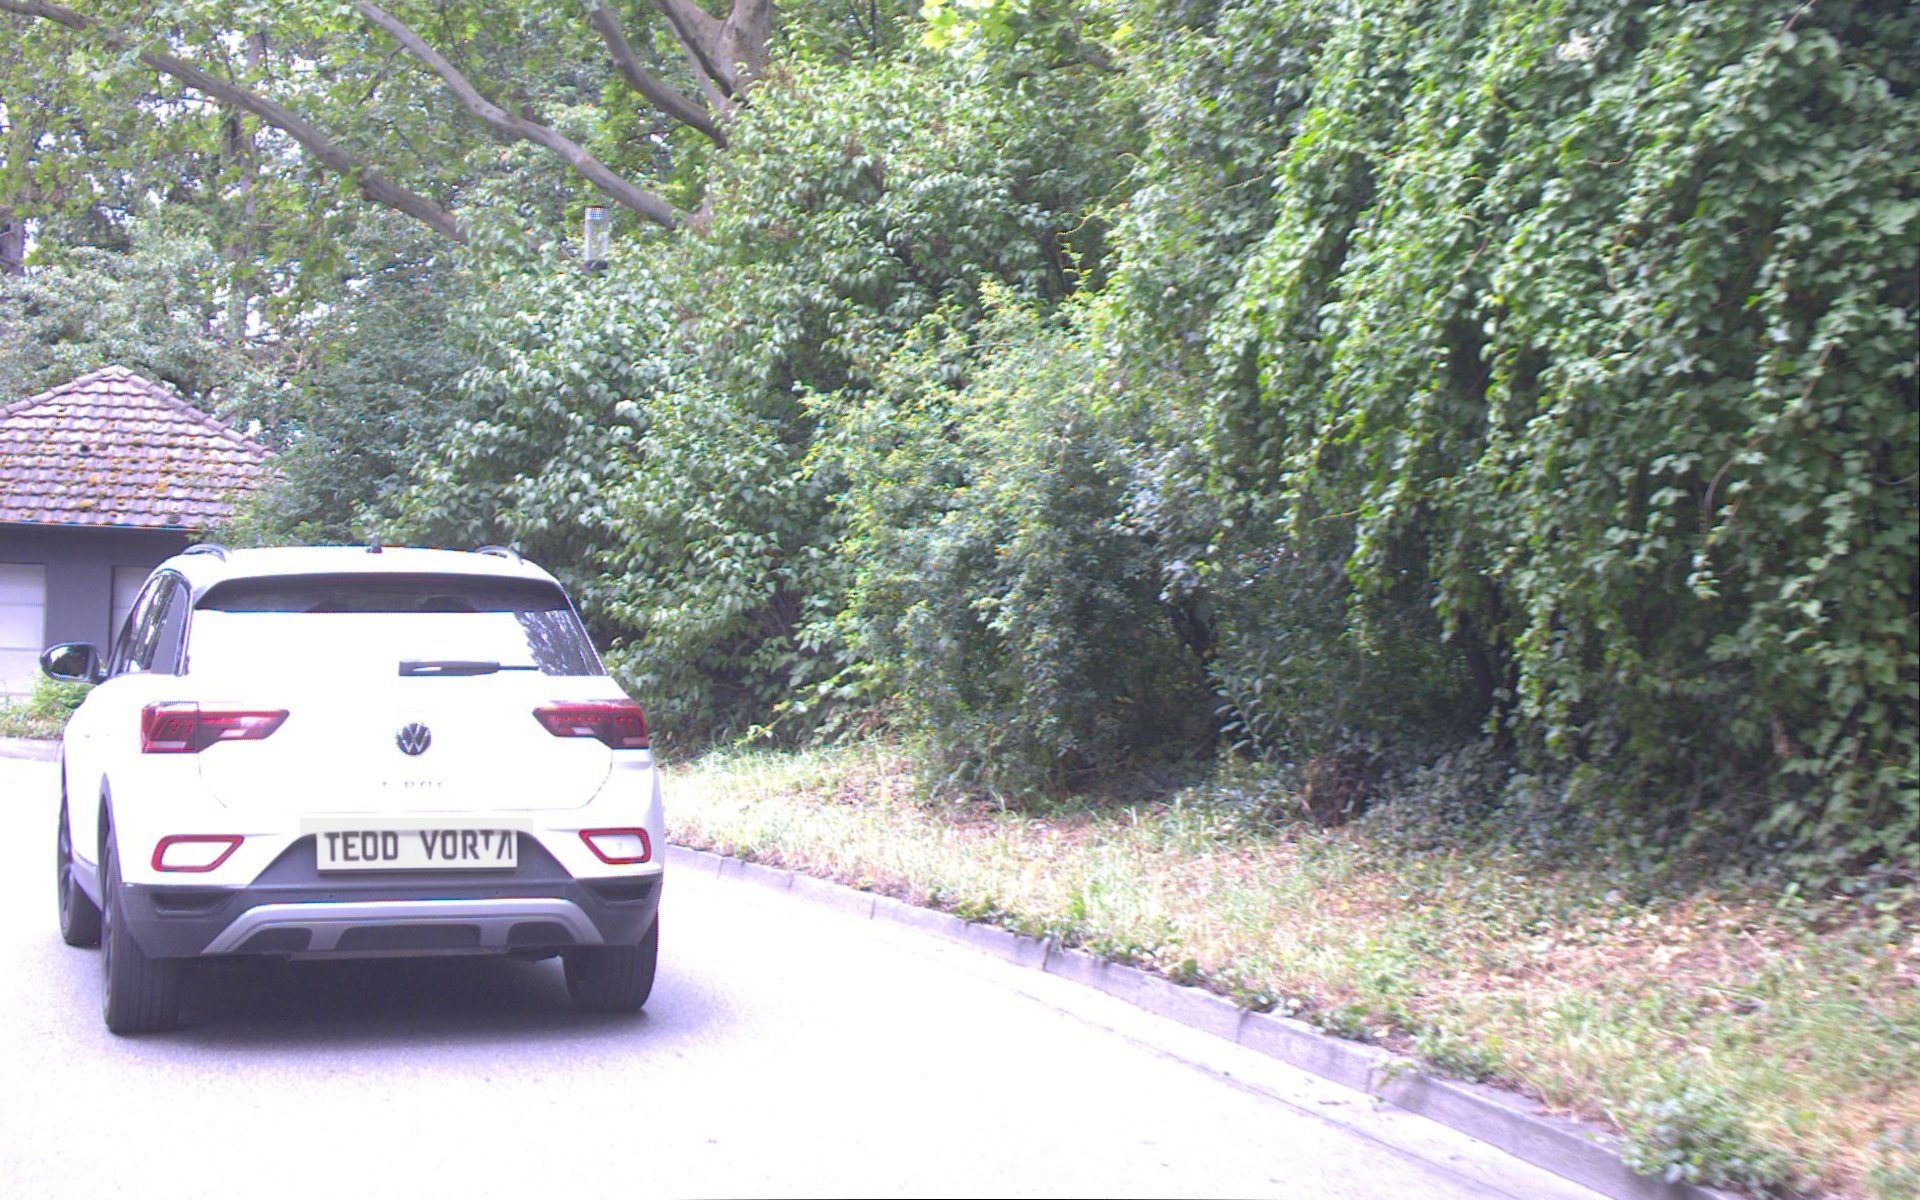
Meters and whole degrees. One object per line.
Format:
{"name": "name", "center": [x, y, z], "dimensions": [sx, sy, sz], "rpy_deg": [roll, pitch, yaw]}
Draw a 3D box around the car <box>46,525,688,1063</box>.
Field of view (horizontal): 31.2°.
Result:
{"name": "car", "center": [-2.320, 0.522, 12.467], "dimensions": [1.754, 1.547, 4.339], "rpy_deg": [-1, 2, -17]}
